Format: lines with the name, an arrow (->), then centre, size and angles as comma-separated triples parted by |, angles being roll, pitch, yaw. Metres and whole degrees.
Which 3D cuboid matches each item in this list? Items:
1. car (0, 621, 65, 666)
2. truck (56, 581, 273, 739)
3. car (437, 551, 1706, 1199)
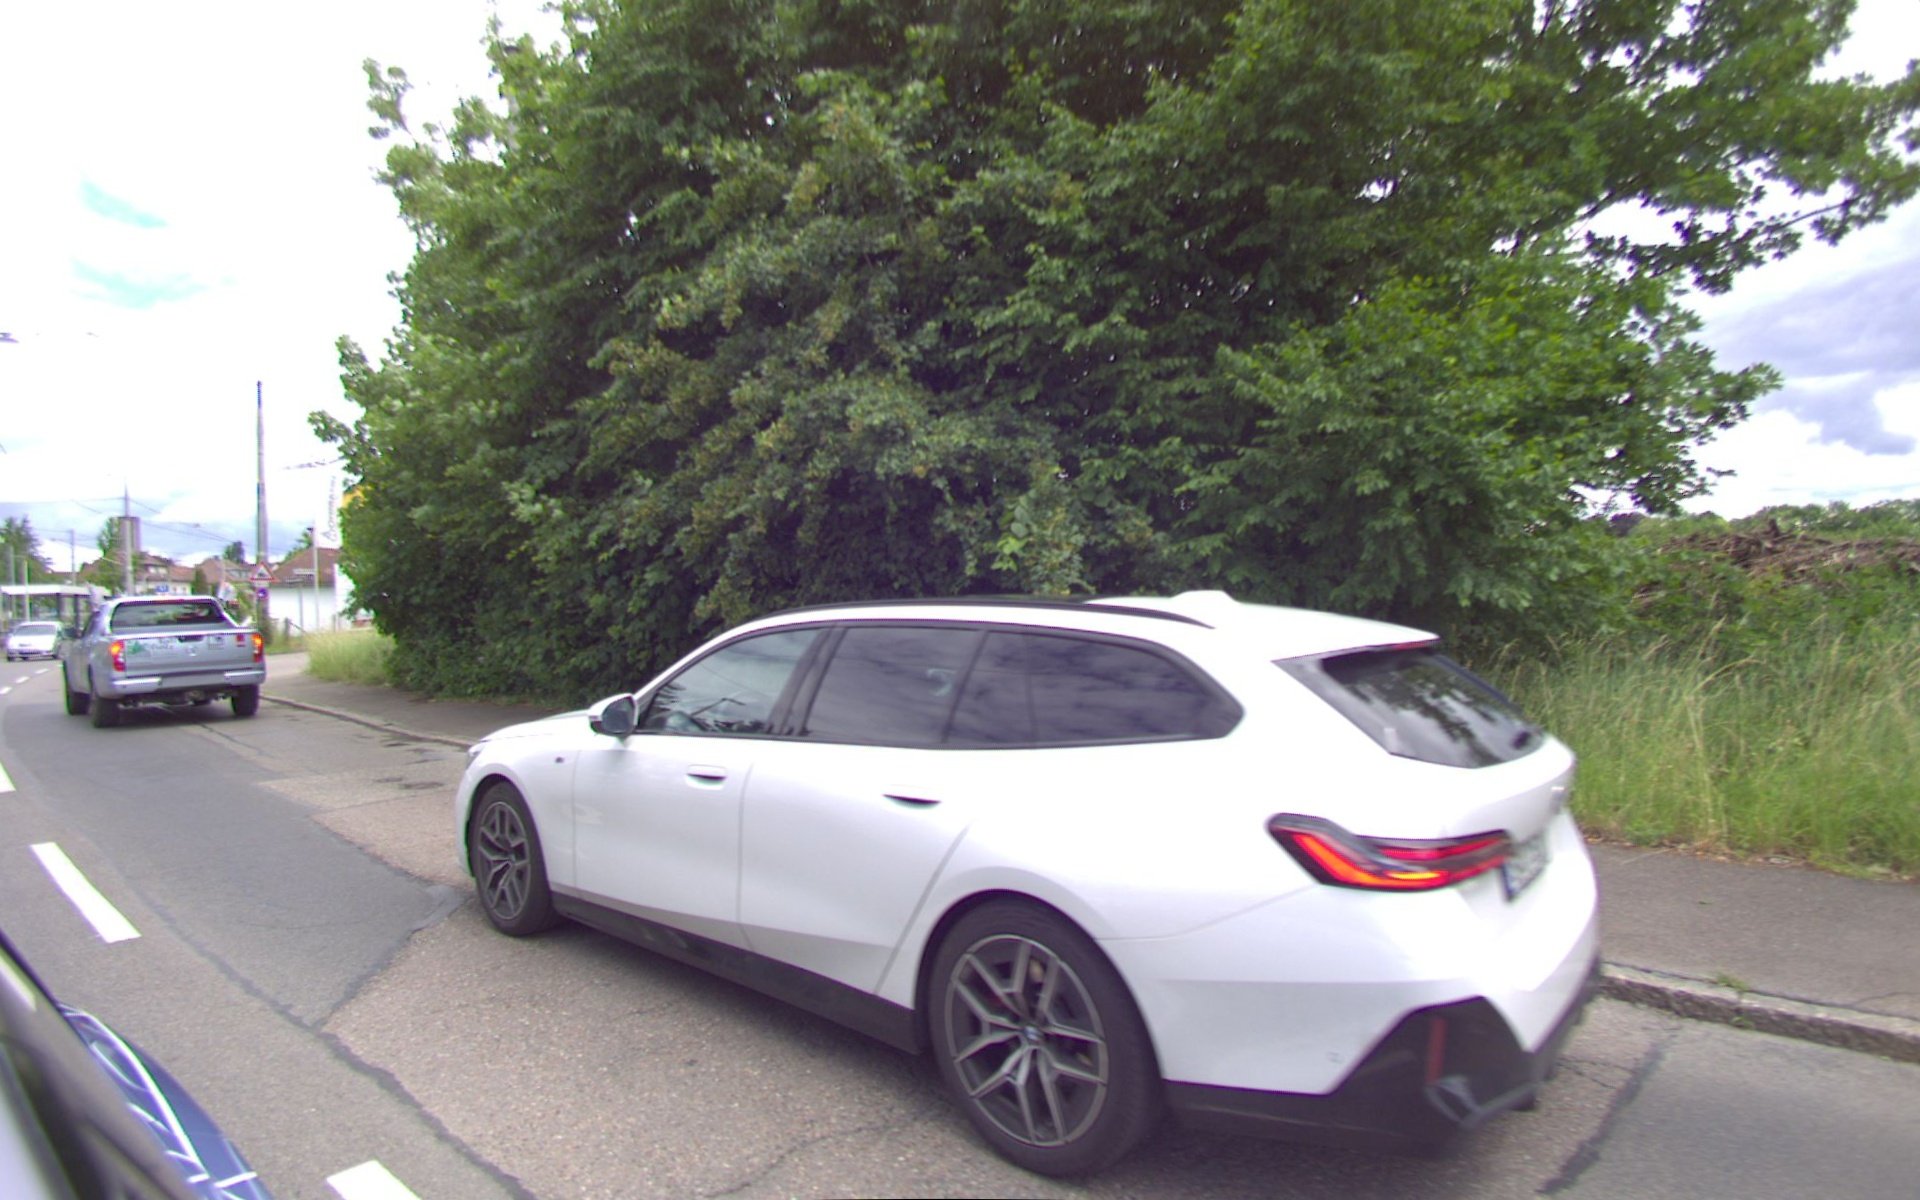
car -> -38.770, 1.781, 42.343 | 1.707, 1.661, 4.234 | -3, 1, -38
truck -> -12.071, 0.787, 15.210 | 4.959, 1.981, 1.828 | -1, 0, 43
car -> -0.069, 0.735, 3.942 | 4.656, 1.533, 1.910 | -1, -2, 41
